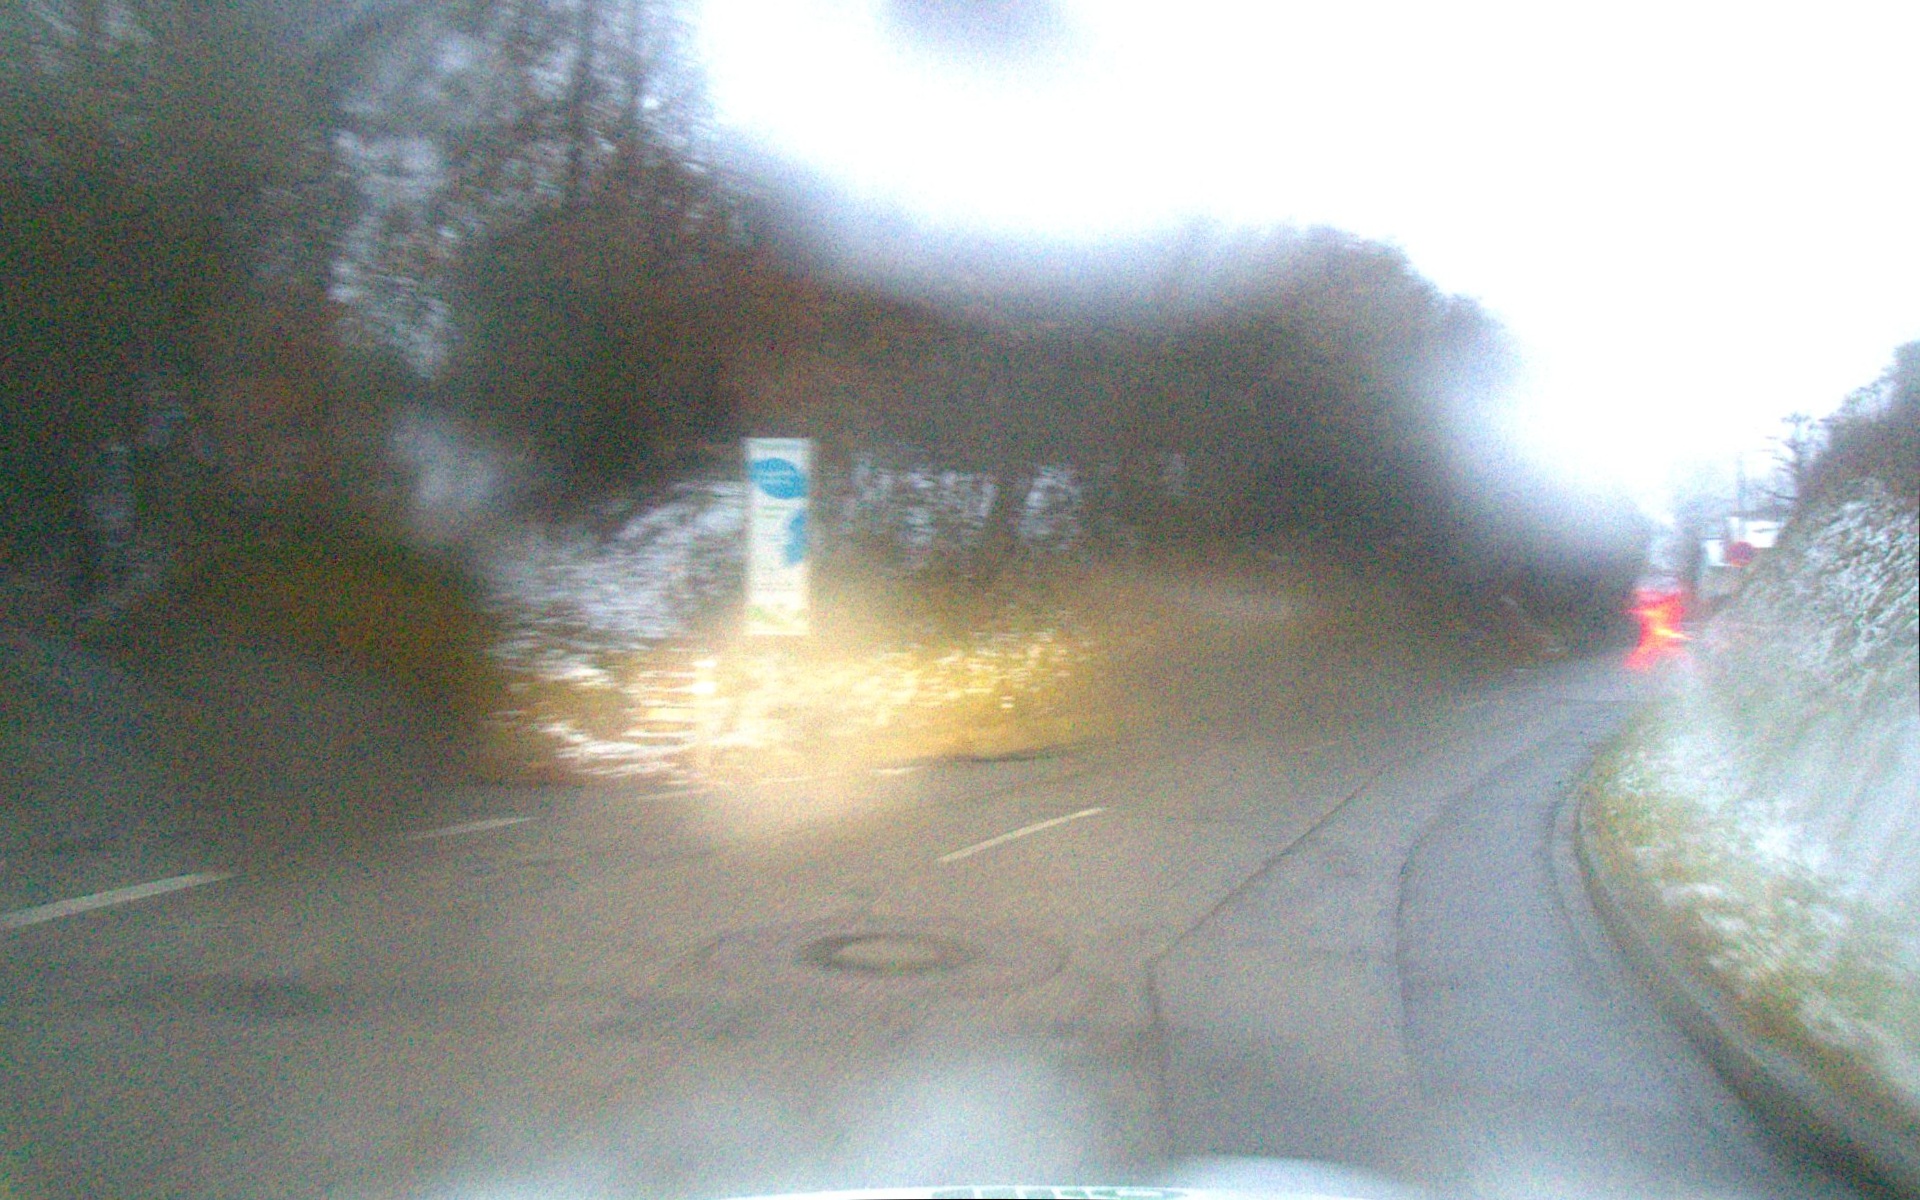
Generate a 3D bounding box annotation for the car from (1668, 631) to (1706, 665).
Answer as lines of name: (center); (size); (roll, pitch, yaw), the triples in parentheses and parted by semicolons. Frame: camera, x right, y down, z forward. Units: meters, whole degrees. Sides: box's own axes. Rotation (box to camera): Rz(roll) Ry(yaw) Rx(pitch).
car: (42.299, 2.817, 96.211); (1.770, 1.769, 3.995); (2, -2, 27)
